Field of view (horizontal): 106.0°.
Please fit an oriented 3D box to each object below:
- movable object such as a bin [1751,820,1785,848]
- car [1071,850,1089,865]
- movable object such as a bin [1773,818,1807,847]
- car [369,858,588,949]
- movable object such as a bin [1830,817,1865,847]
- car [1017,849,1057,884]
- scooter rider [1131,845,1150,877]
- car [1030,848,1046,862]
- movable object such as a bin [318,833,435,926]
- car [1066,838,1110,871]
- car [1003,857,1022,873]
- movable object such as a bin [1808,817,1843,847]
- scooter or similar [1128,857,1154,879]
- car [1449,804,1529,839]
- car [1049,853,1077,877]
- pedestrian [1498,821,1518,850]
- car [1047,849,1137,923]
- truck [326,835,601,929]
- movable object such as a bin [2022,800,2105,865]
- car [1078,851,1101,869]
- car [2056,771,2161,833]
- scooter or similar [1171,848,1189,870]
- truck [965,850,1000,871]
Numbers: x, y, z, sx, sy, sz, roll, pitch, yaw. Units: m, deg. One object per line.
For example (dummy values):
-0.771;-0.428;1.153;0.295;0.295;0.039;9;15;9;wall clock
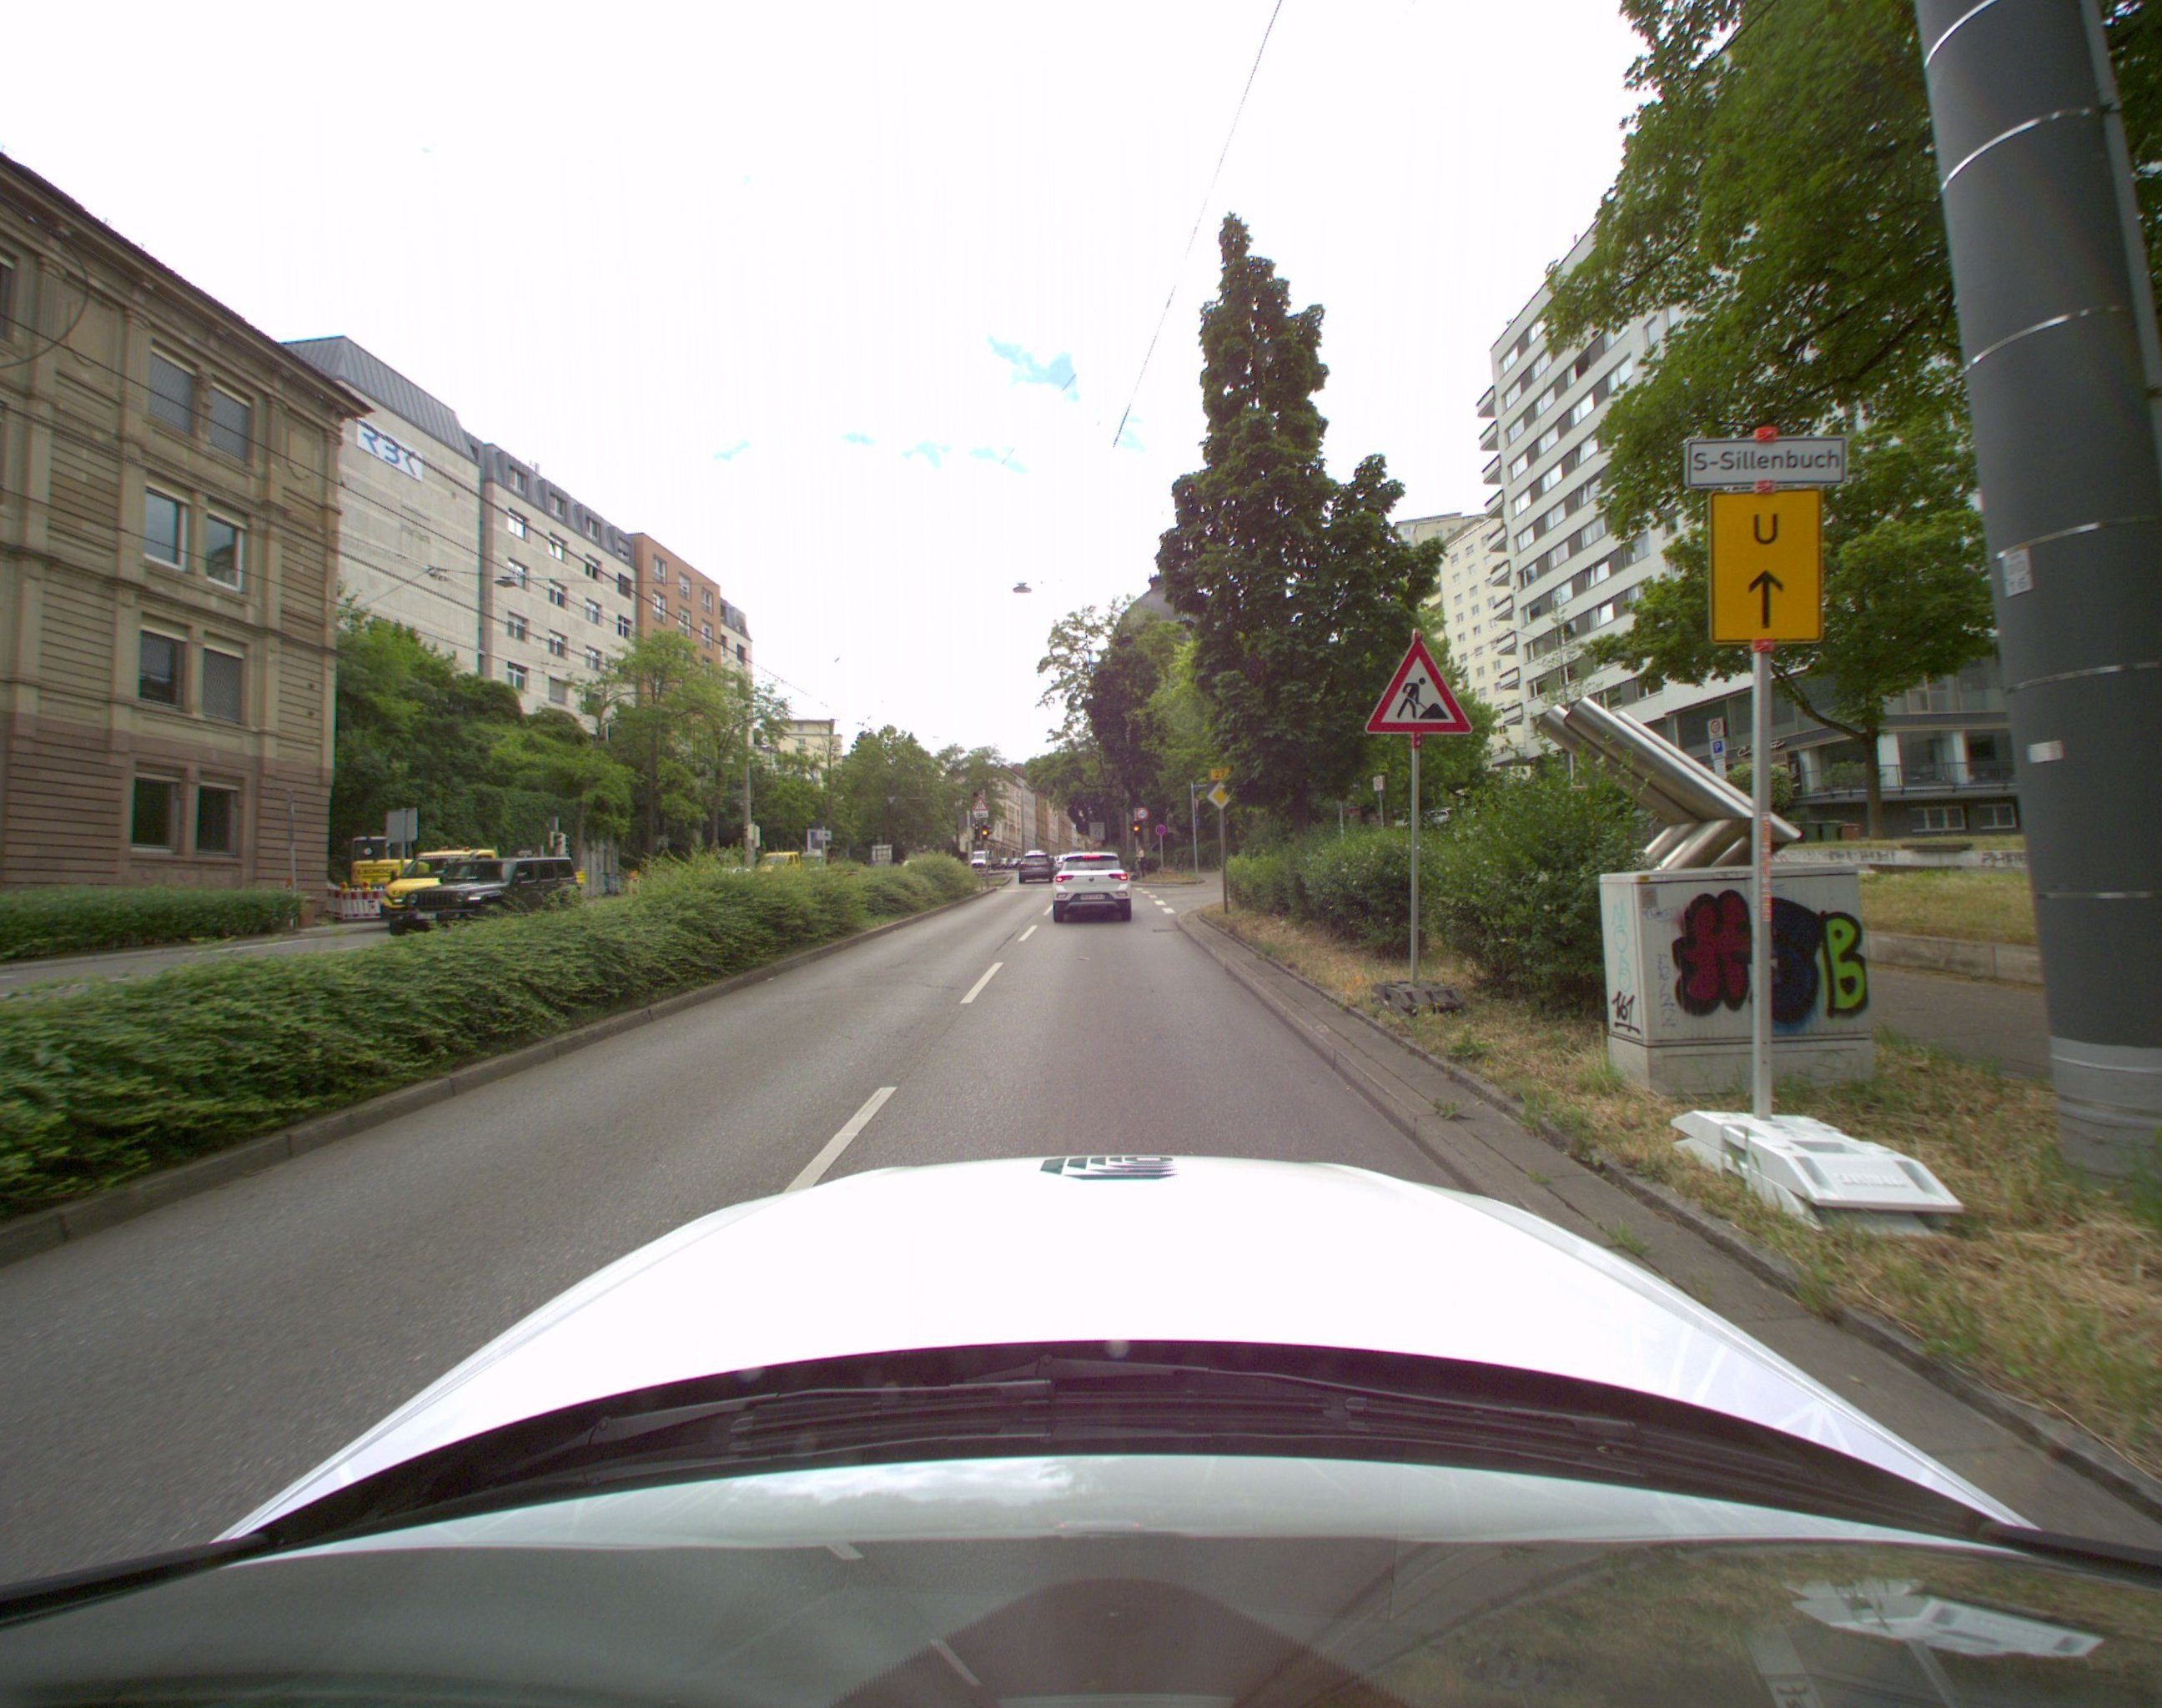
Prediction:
28.220;-0.806;33.455;0.825;1.103;0.708;-3;0;-22;movable object such as a bin
-0.121;0.508;123.012;2.412;2.169;6.038;-2;-1;3;car
28.581;-0.851;32.826;0.825;1.103;0.708;-3;0;-22;movable object such as a bin
-14.083;1.067;19.461;1.895;1.876;4.637;-1;-1;-3;car
29.636;-0.855;31.499;0.825;1.103;0.676;-3;0;-22;movable object such as a bin
-2.410;0.659;45.562;1.833;1.739;4.001;-2;1;1;car
2.946;0.342;40.574;0.776;1.558;0.531;-3;0;-6;scooter rider
-6.669;0.092;125.689;1.986;2.013;4.001;-3;0;1;car
-22.965;0.816;26.645;1.990;2.838;2.026;-2;-1;-5;movable object such as a bin
0.302;0.075;42.278;1.900;1.574;3.826;1;-2;-5;car
-8.861;1.448;105.484;1.986;2.014;4.001;0;-3;2;car
29.431;-0.871;32.203;0.825;1.103;0.708;-3;0;-22;movable object such as a bin
2.978;0.691;40.568;1.185;0.994;0.530;-3;0;-6;scooter or similar
26.364;-2.074;52.702;4.124;2.013;1.996;-3;0;-6;car
-1.352;0.860;61.492;1.988;1.623;3.998;-3;-1;-1;car
22.541;-0.962;43.009;0.560;1.499;0.672;-3;0;-25;pedestrian
0.231;0.671;19.574;1.932;1.566;4.045;-1;0;-1;car
-18.668;0.906;25.434;2.906;2.510;7.154;0;-2;1;truck
16.992;-0.357;14.099;0.666;1.082;0.609;0;-3;2;movable object such as a bin
1.085;0.765;102.219;2.411;2.169;6.041;-2;-1;4;car
26.046;-1.282;19.026;1.622;1.279;3.888;2;-3;-26;car
5.278;0.292;43.416;0.474;1.100;1.363;-3;-3;-11;scooter or similar
-10.822;0.721;90.056;2.409;2.169;6.045;0;1;7;truck
